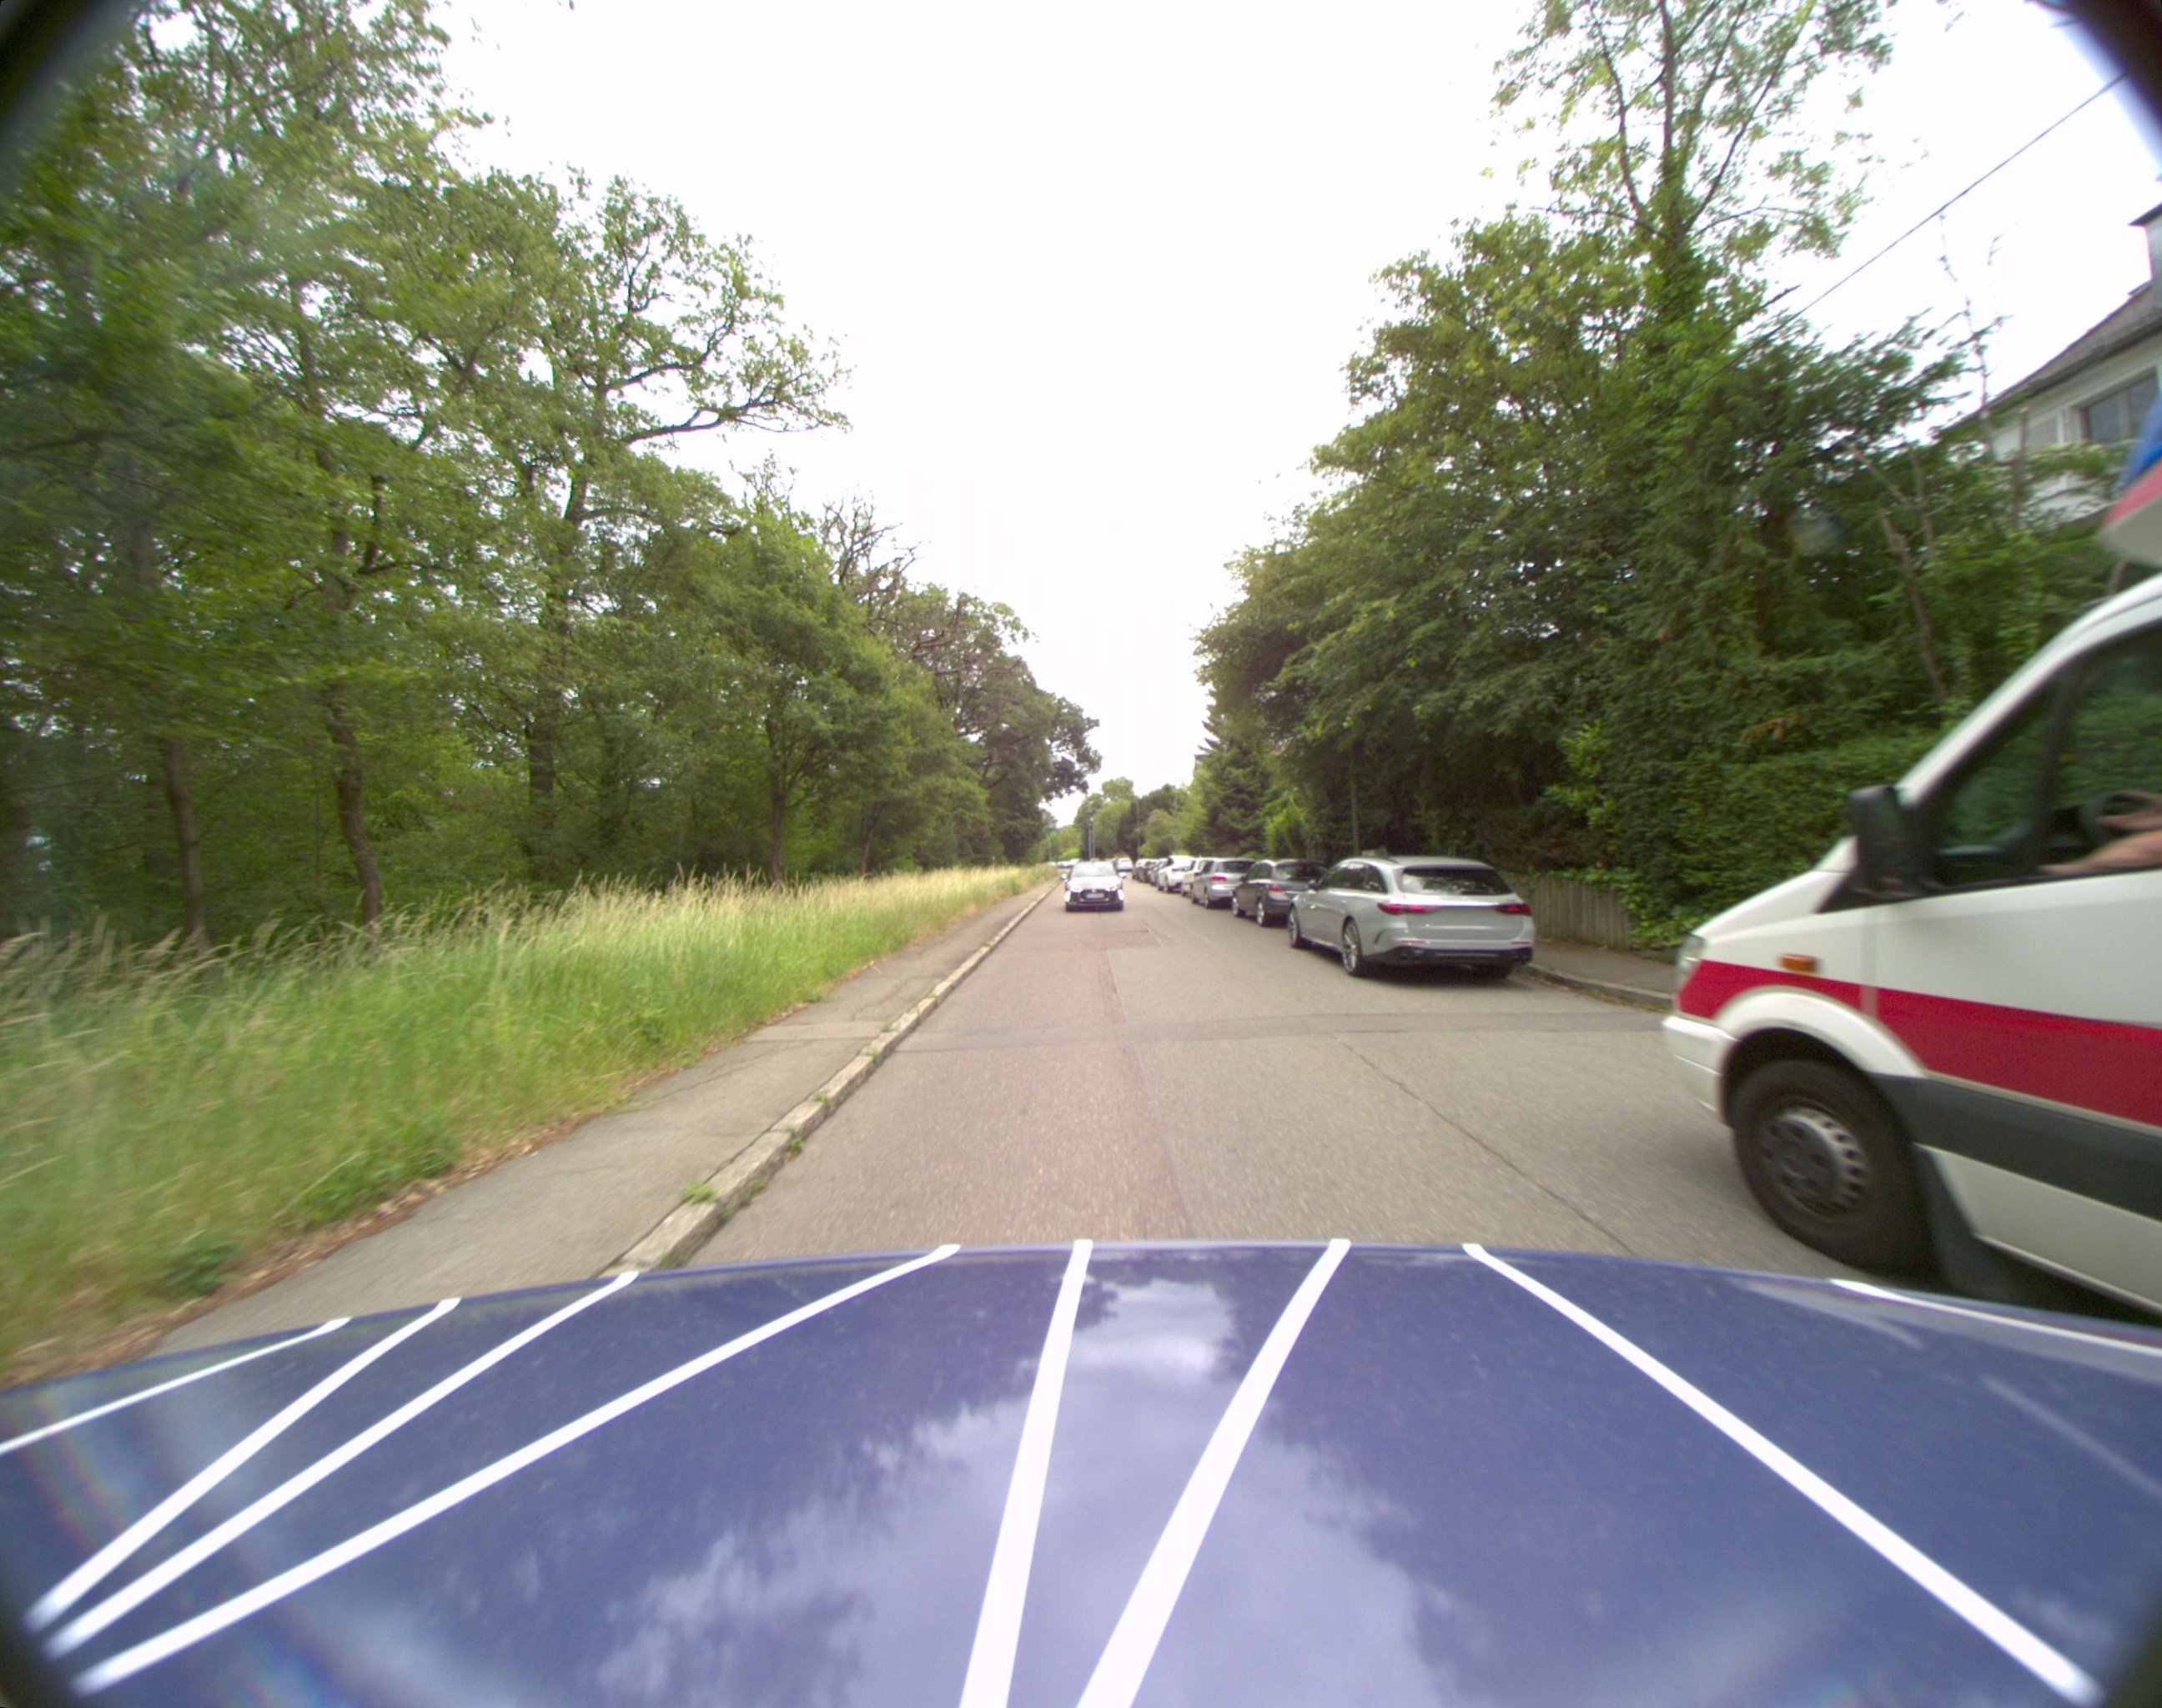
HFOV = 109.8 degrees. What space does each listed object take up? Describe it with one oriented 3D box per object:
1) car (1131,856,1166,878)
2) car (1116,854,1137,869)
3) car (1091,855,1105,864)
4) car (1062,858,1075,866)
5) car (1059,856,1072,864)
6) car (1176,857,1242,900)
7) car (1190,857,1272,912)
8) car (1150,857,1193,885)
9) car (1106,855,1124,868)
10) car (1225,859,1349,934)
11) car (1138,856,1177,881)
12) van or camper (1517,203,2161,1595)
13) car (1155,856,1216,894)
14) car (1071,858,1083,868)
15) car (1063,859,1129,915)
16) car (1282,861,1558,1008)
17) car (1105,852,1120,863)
[{"bbox_3d":[4.626,0.876,52.636,1.853,1.431,4.909,-1,0,-1],"label":"car"},{"bbox_3d":[4.811,0.793,80.652,1.788,1.491,4.014,-2,0,-1],"label":"car"},{"bbox_3d":[2.696,0.897,120.812,1.765,1.441,4.041,-2,0,-6],"label":"car"},{"bbox_3d":[-2.588,1.684,159.561,2.000,1.678,4.707,-2,0,-10],"label":"car"},{"bbox_3d":[-3.382,1.325,167.284,2.000,1.678,4.706,-2,0,-10],"label":"car"},{"bbox_3d":[4.727,0.861,28.594,1.725,1.496,3.816,0,0,-2],"label":"car"},{"bbox_3d":[4.429,0.857,23.011,1.724,1.496,4.008,0,0,0],"label":"car"},{"bbox_3d":[4.816,0.879,40.752,1.839,1.431,4.116,0,0,0],"label":"car"},{"bbox_3d":[4.039,0.922,90.859,1.788,1.431,4.323,-4,0,-2],"label":"car"},{"bbox_3d":[4.583,0.881,17.488,1.725,1.496,4.060,0,0,0],"label":"car"},{"bbox_3d":[4.645,0.881,46.550,1.739,1.431,4.261,-1,0,-2],"label":"car"},{"bbox_3d":[3.456,0.086,0.306,2.462,2.878,7.168,-1,0,0],"label":"van or camper"},{"bbox_3d":[4.538,0.863,33.653,1.921,1.553,4.603,0,0,-2],"label":"car"},{"bbox_3d":[-0.740,1.572,138.416,1.999,1.678,4.709,-2,0,-2],"label":"car"},{"bbox_3d":[0.387,0.954,23.464,1.788,1.491,4.014,-3,0,-1],"label":"car"},{"bbox_3d":[4.246,0.885,10.534,1.802,1.496,4.864,0,0,2],"label":"car"},{"bbox_3d":[4.180,0.469,101.566,1.741,1.431,3.787,-2,0,-2],"label":"car"}]
